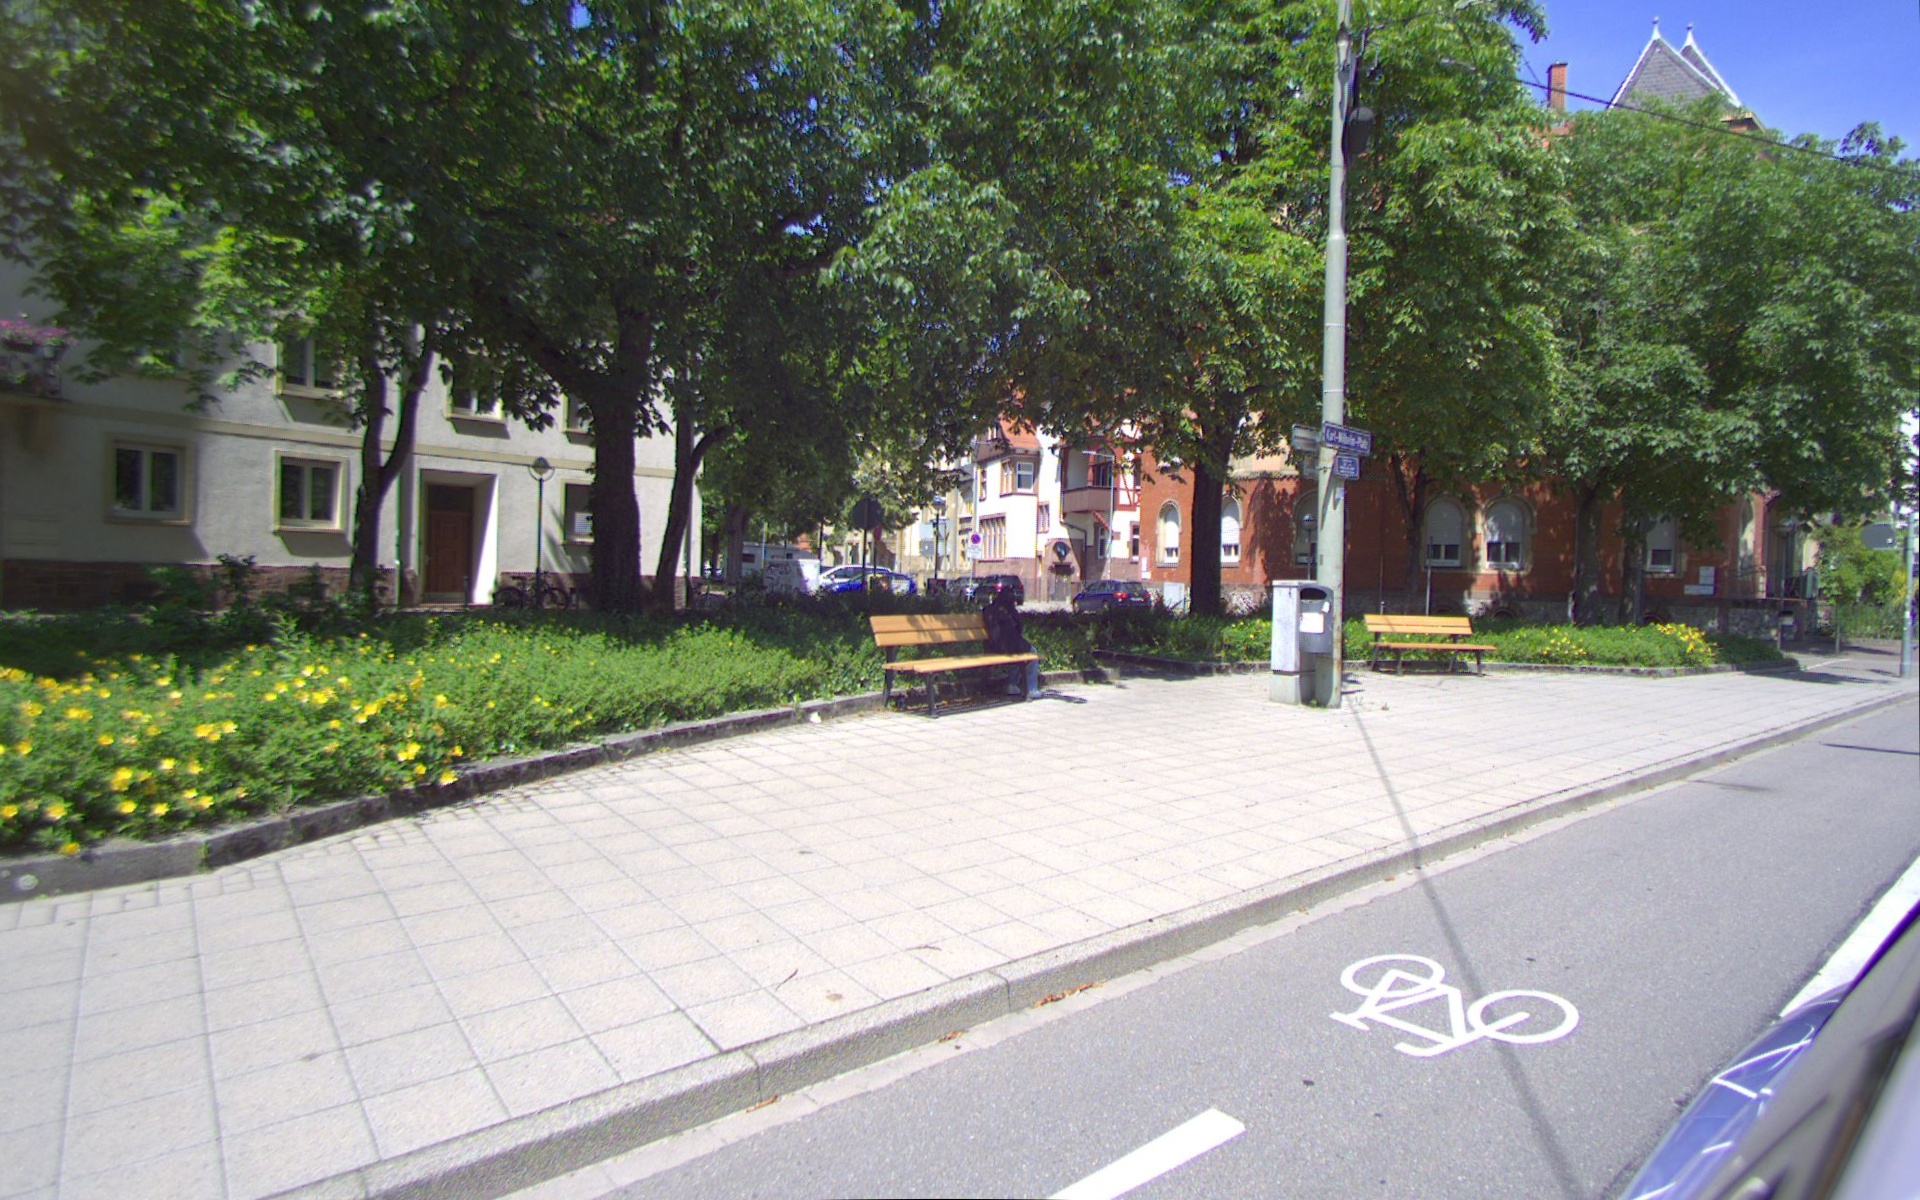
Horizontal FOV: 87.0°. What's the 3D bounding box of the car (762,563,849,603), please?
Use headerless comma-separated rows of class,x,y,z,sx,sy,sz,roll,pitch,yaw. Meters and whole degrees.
car,-8.089,-0.885,52.943,4.219,2.029,1.942,0,0,-18

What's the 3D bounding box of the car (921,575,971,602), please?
car,-0.923,-0.693,63.257,1.897,1.638,4.318,0,0,-19

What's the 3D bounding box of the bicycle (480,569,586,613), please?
bicycle,-10.257,-0.225,24.380,2.230,1.024,0.751,-1,0,-41

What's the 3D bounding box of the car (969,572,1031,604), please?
car,2.062,-0.621,54.079,1.897,1.638,4.318,0,0,-19

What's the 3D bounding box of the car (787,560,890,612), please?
car,-5.376,-0.631,44.833,4.219,2.219,1.942,0,0,-18

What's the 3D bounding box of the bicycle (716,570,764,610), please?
bicycle,-5.872,-0.270,26.908,0.736,1.024,2.273,0,0,-26

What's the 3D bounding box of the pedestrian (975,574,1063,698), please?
pedestrian,0.594,0.335,10.079,0.562,1.156,0.718,3,2,33

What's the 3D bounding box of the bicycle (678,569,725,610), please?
bicycle,-6.780,-0.262,26.479,0.736,1.024,2.273,0,0,-26

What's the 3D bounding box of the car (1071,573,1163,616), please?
car,6.271,-0.233,41.030,1.897,1.638,4.318,0,0,-19

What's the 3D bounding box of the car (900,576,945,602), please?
car,-2.570,-0.729,67.953,1.897,1.638,4.318,0,0,-19

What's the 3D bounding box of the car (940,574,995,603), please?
car,0.376,-0.656,58.686,1.897,1.638,4.318,0,0,-19

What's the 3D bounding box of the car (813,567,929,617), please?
car,-3.549,-0.324,40.020,4.219,1.903,1.942,0,0,-18

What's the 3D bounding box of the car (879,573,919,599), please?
car,-4.506,-1.008,74.466,1.897,1.897,4.318,0,0,-19
